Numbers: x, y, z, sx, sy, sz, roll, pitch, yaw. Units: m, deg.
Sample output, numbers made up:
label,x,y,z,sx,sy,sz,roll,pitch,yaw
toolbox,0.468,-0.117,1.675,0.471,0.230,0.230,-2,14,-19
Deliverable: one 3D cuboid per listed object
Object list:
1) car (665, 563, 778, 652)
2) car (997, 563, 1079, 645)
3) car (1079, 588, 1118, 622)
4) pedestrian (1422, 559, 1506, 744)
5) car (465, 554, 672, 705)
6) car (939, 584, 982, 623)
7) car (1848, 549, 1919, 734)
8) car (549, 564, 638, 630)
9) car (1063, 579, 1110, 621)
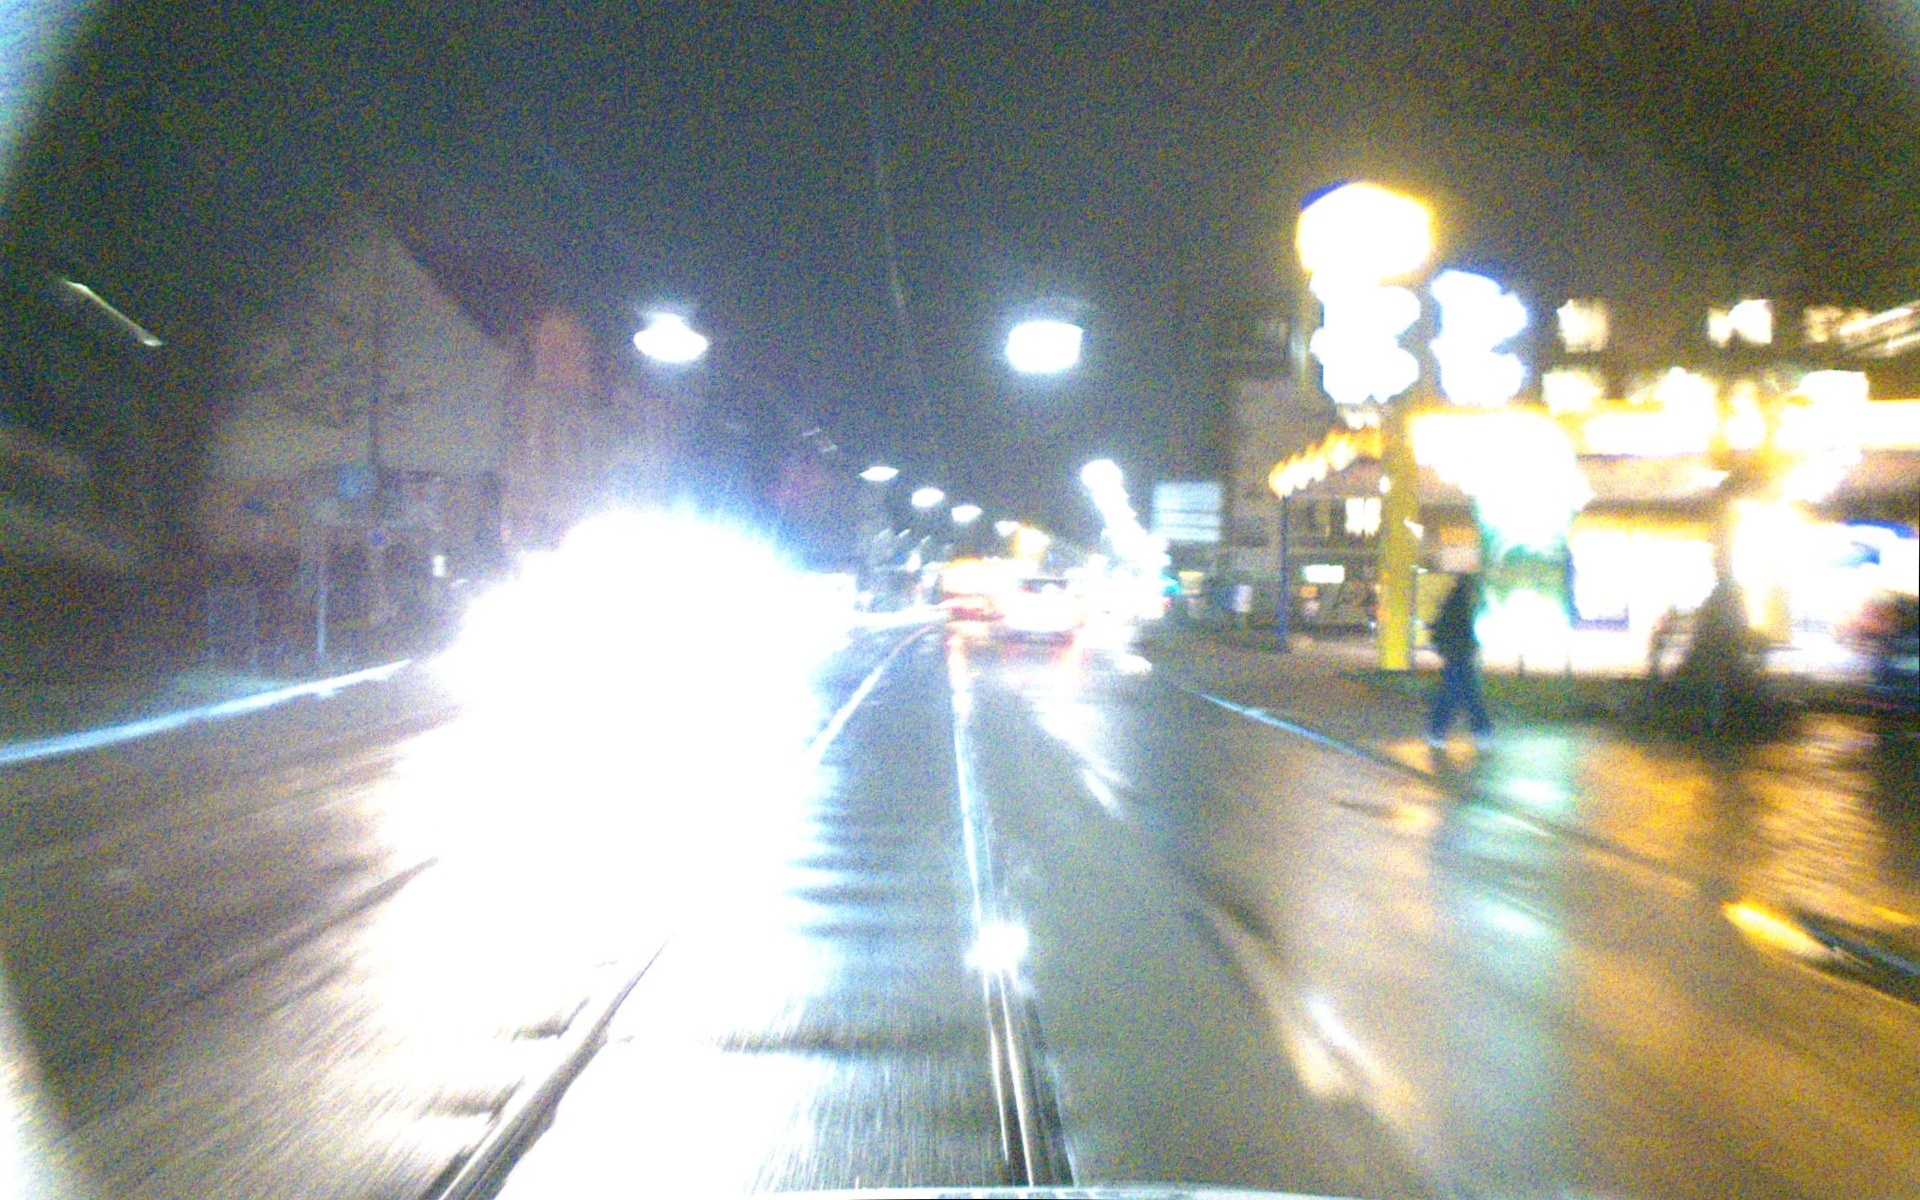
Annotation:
label,x,y,z,sx,sy,sz,roll,pitch,yaw
car,-5.641,0.170,39.801,2.274,1.966,4.959,1,0,-4
car,2.378,0.106,51.545,2.199,2.402,4.392,1,0,-2
car,8.626,0.283,103.295,1.953,2.049,3.999,1,0,-1
pedestrian,5.082,0.503,16.694,0.761,1.807,0.694,1,0,17
car,-4.986,0.347,21.638,1.954,1.754,4.073,1,0,-4
car,-0.011,0.168,80.838,1.953,1.847,3.999,1,0,-1
car,10.485,0.416,16.972,1.989,1.730,4.108,1,0,34
car,-11.932,-0.091,54.119,1.952,2.049,4.000,1,0,0
car,5.814,0.000,76.344,1.974,1.847,4.001,1,0,1
